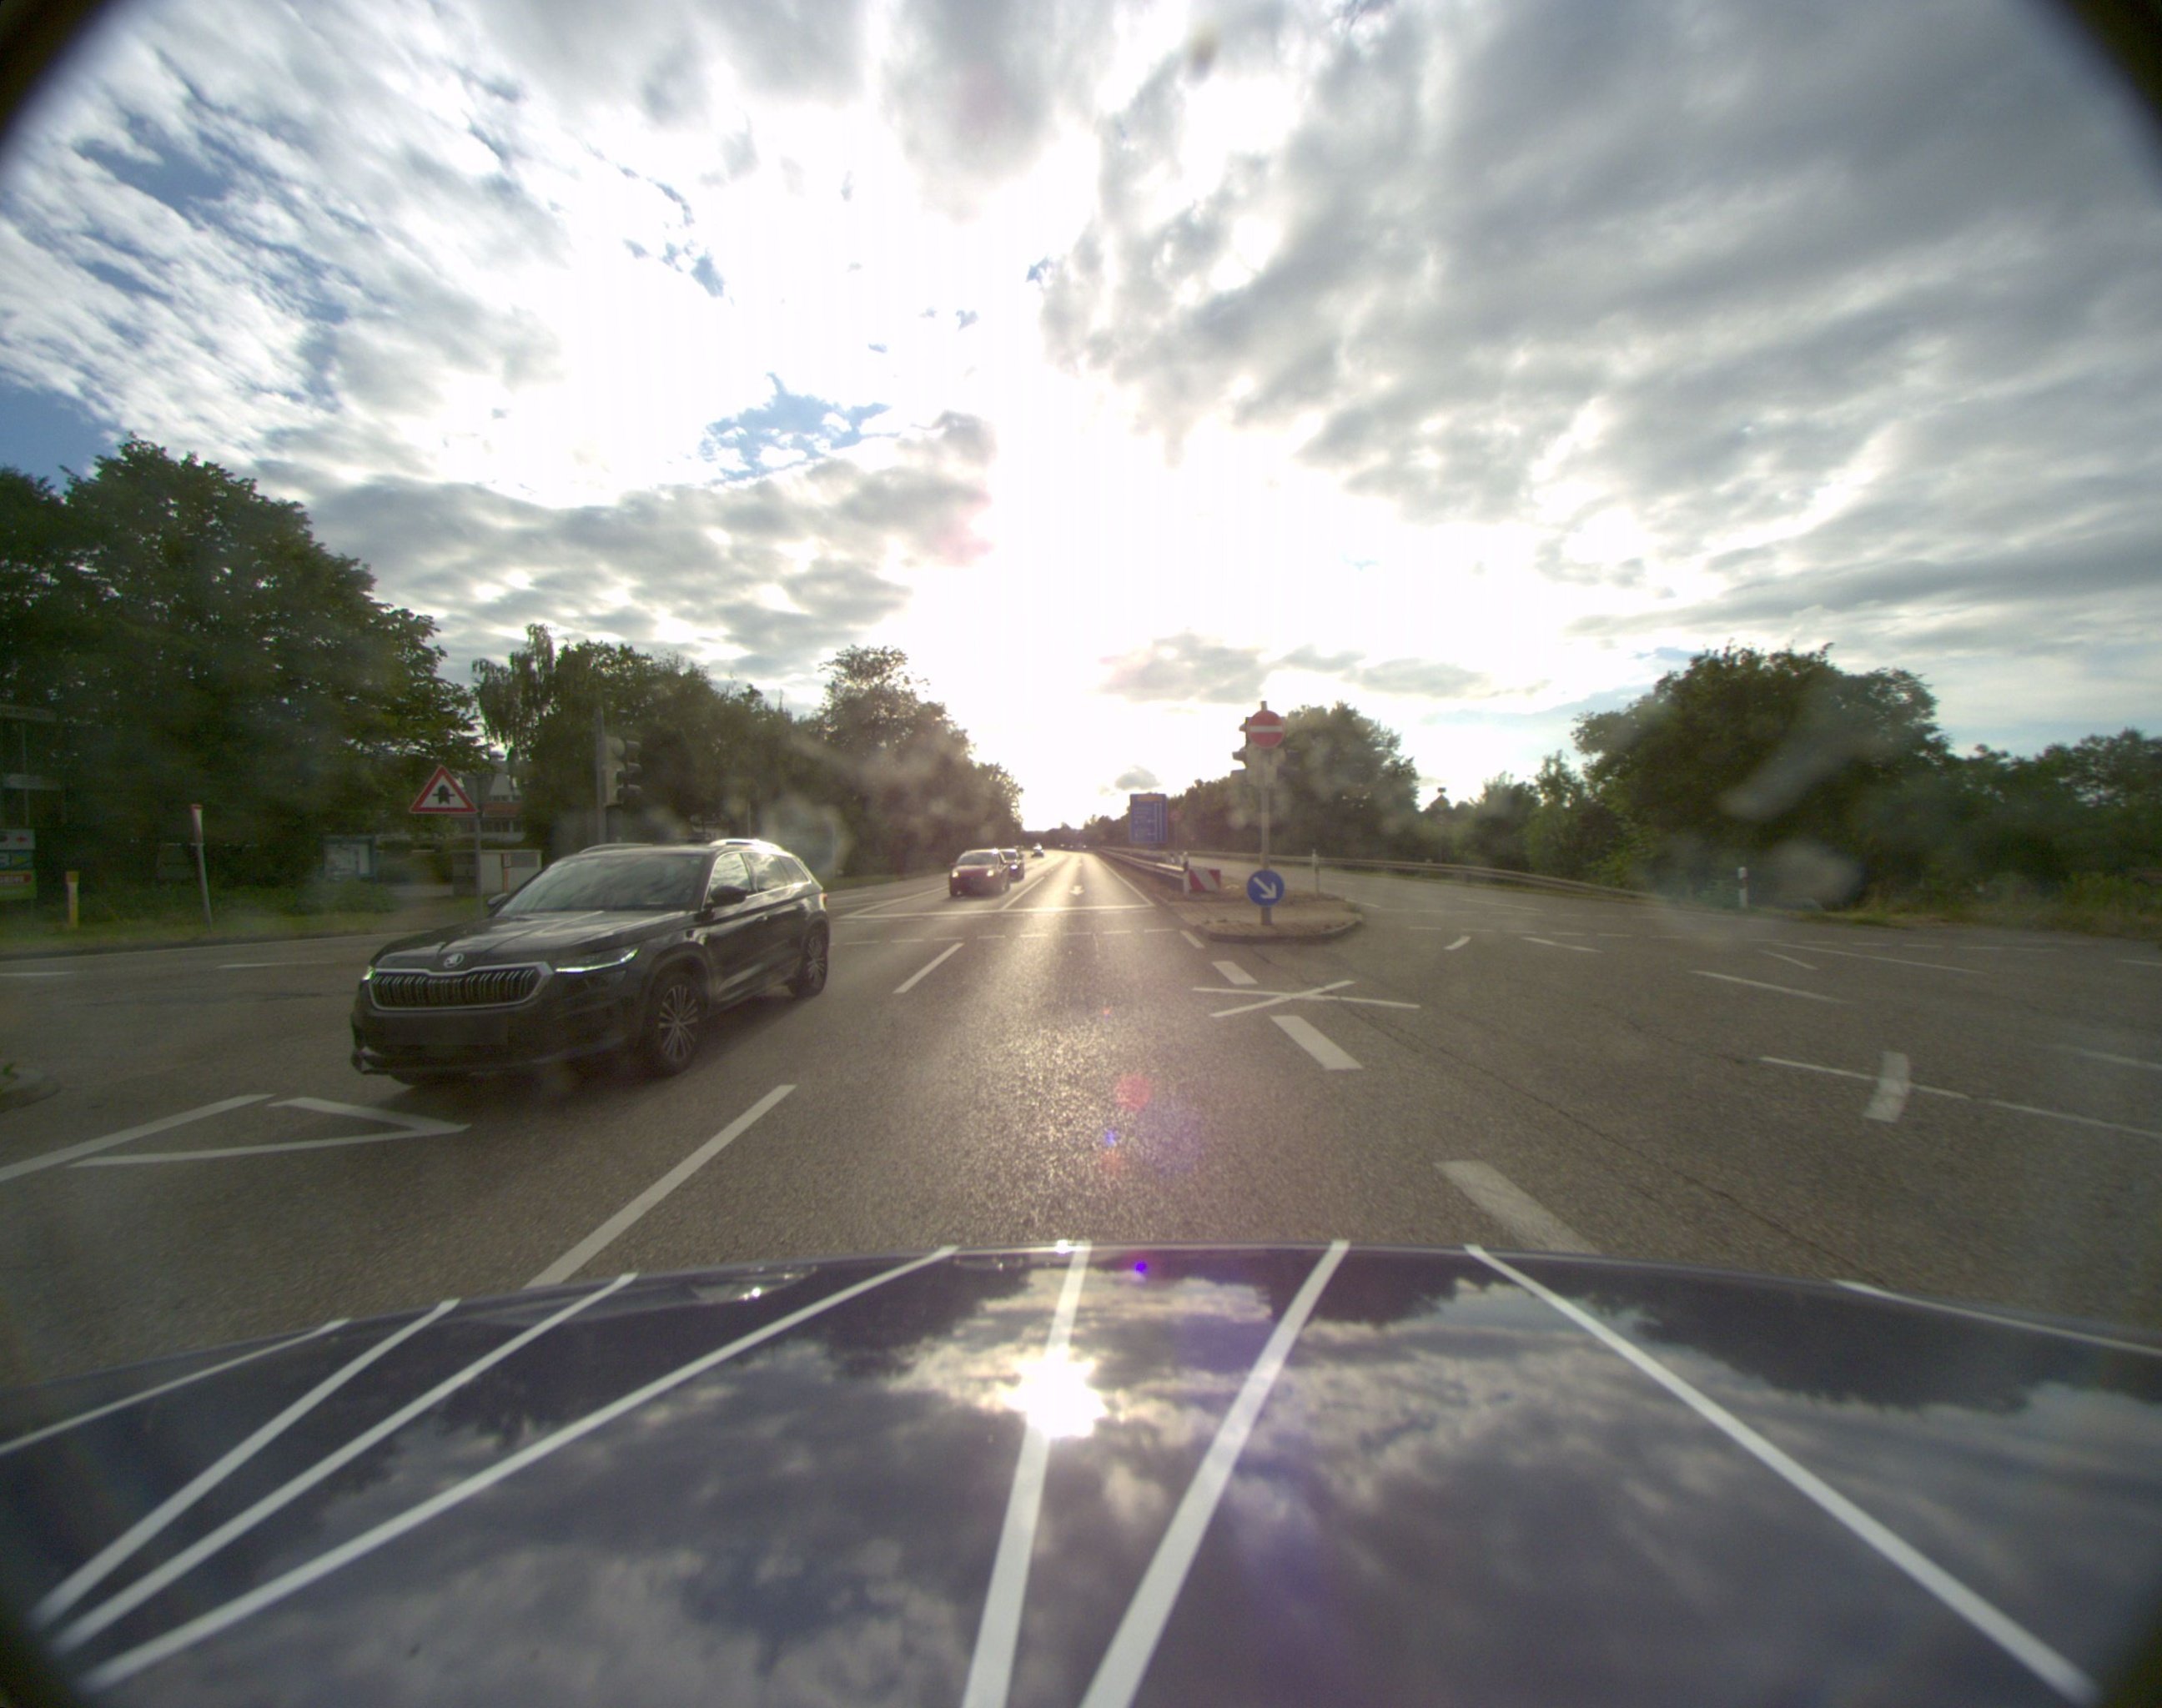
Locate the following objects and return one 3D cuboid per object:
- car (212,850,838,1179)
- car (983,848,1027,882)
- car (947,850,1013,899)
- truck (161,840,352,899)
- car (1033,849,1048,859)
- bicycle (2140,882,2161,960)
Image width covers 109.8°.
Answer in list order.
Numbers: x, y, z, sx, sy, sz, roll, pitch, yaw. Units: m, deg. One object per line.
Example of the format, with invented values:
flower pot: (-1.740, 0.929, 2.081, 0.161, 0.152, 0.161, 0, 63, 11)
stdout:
car: (-3.689, 0.853, 6.320, 1.849, 1.640, 4.480, -3, 1, 0)
car: (-3.531, 0.485, 35.936, 1.700, 1.408, 3.999, -2, 1, -1)
car: (-3.317, 0.628, 25.655, 1.667, 1.424, 3.993, -2, 1, -1)
truck: (-31.747, 0.545, 29.508, 4.678, 1.985, 1.819, -3, 1, -36)
car: (-5.802, -0.018, 108.901, 1.998, 1.486, 3.999, 0, 1, 0)
bicycle: (17.051, 0.996, 10.907, 2.324, 1.131, 0.816, 0, 1, 6)
